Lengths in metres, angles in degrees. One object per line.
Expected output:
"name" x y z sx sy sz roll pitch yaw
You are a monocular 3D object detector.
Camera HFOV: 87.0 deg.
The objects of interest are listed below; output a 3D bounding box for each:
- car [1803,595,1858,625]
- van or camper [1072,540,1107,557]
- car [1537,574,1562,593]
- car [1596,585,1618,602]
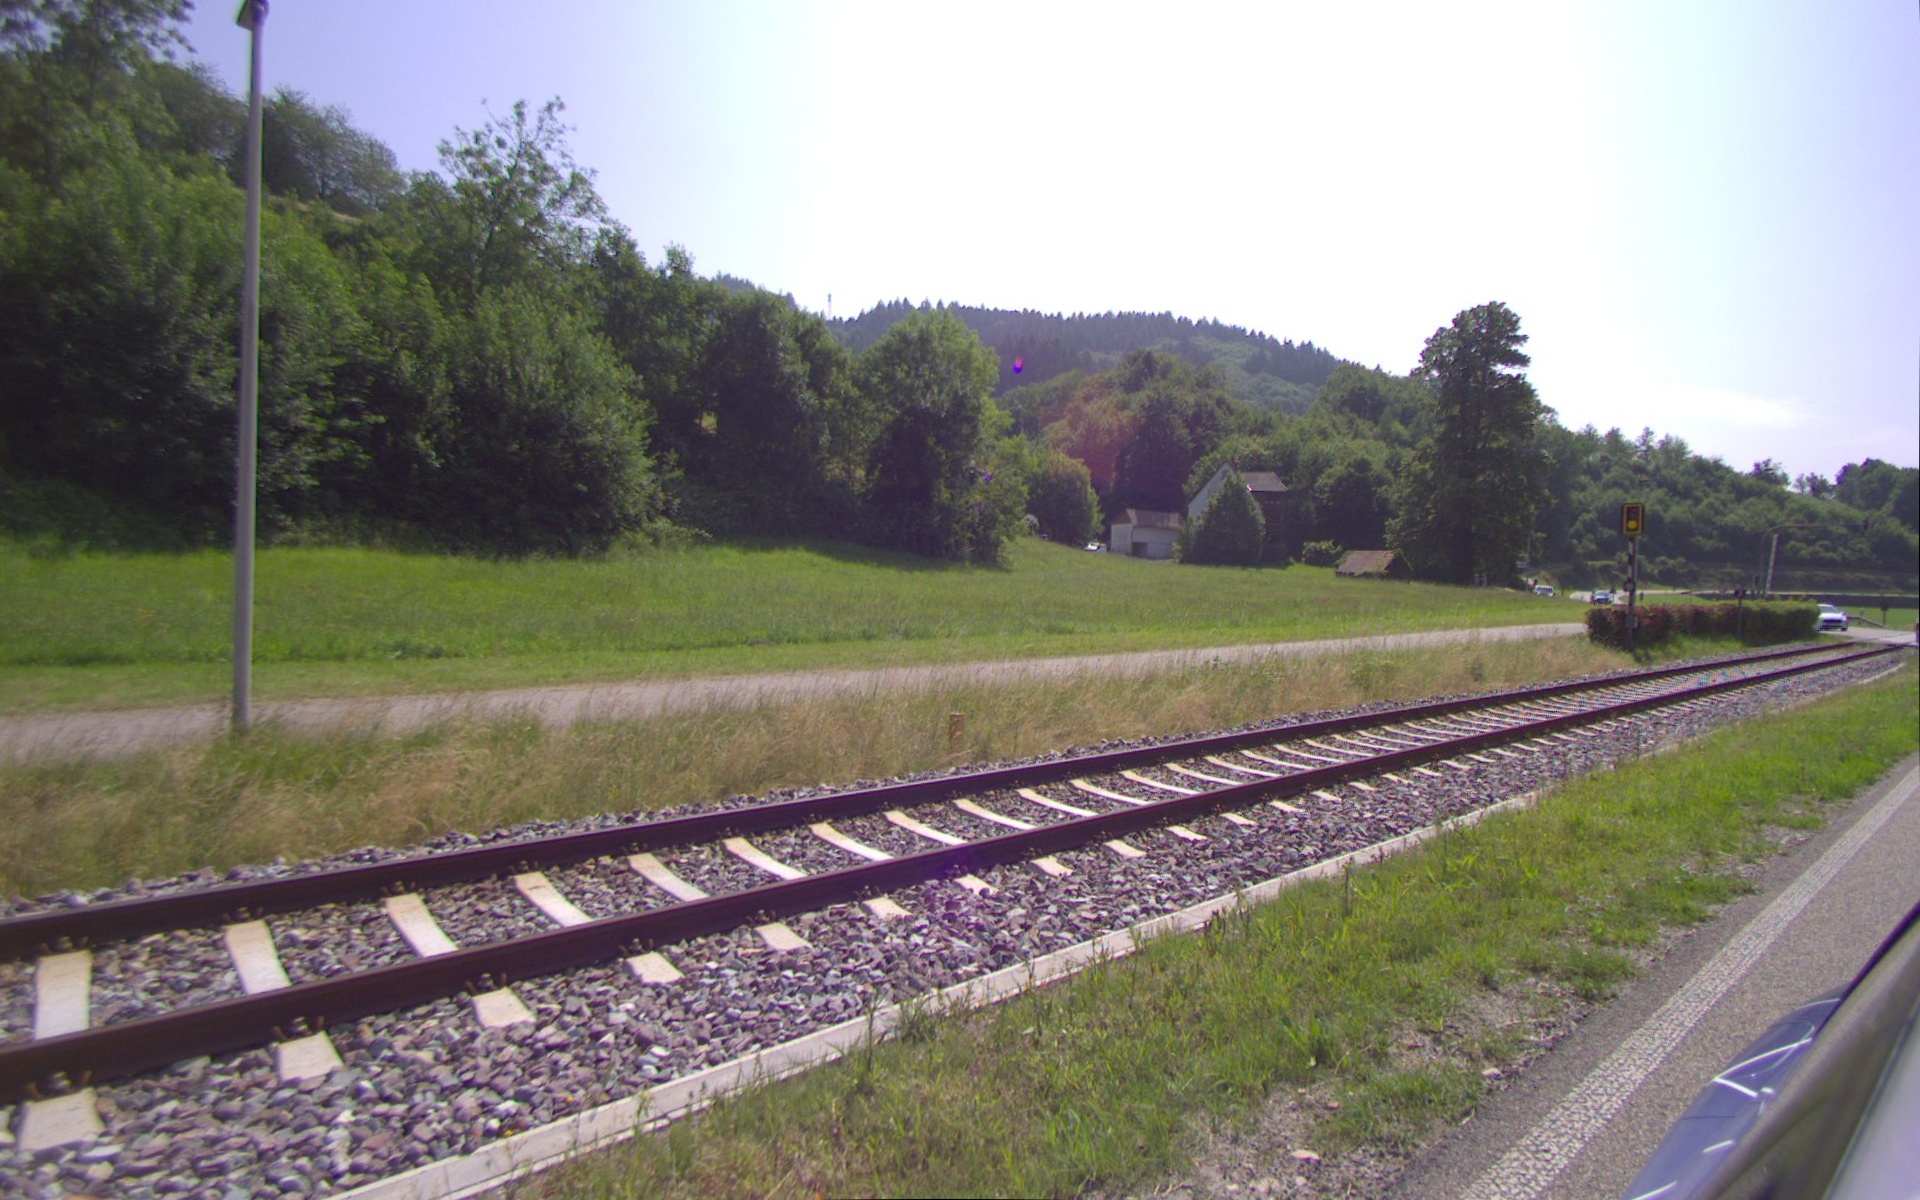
"car" 49.359 0.534 57.438 2.138 1.509 4.606 4 3 39
"van or camper" 16.875 -6.645 131.275 2.792 1.973 5.386 5 3 27
"car" 62.093 -1.723 106.695 1.987 1.871 4.823 3 2 27
"car" 74.475 -0.759 116.426 1.986 1.806 3.952 3 3 33
